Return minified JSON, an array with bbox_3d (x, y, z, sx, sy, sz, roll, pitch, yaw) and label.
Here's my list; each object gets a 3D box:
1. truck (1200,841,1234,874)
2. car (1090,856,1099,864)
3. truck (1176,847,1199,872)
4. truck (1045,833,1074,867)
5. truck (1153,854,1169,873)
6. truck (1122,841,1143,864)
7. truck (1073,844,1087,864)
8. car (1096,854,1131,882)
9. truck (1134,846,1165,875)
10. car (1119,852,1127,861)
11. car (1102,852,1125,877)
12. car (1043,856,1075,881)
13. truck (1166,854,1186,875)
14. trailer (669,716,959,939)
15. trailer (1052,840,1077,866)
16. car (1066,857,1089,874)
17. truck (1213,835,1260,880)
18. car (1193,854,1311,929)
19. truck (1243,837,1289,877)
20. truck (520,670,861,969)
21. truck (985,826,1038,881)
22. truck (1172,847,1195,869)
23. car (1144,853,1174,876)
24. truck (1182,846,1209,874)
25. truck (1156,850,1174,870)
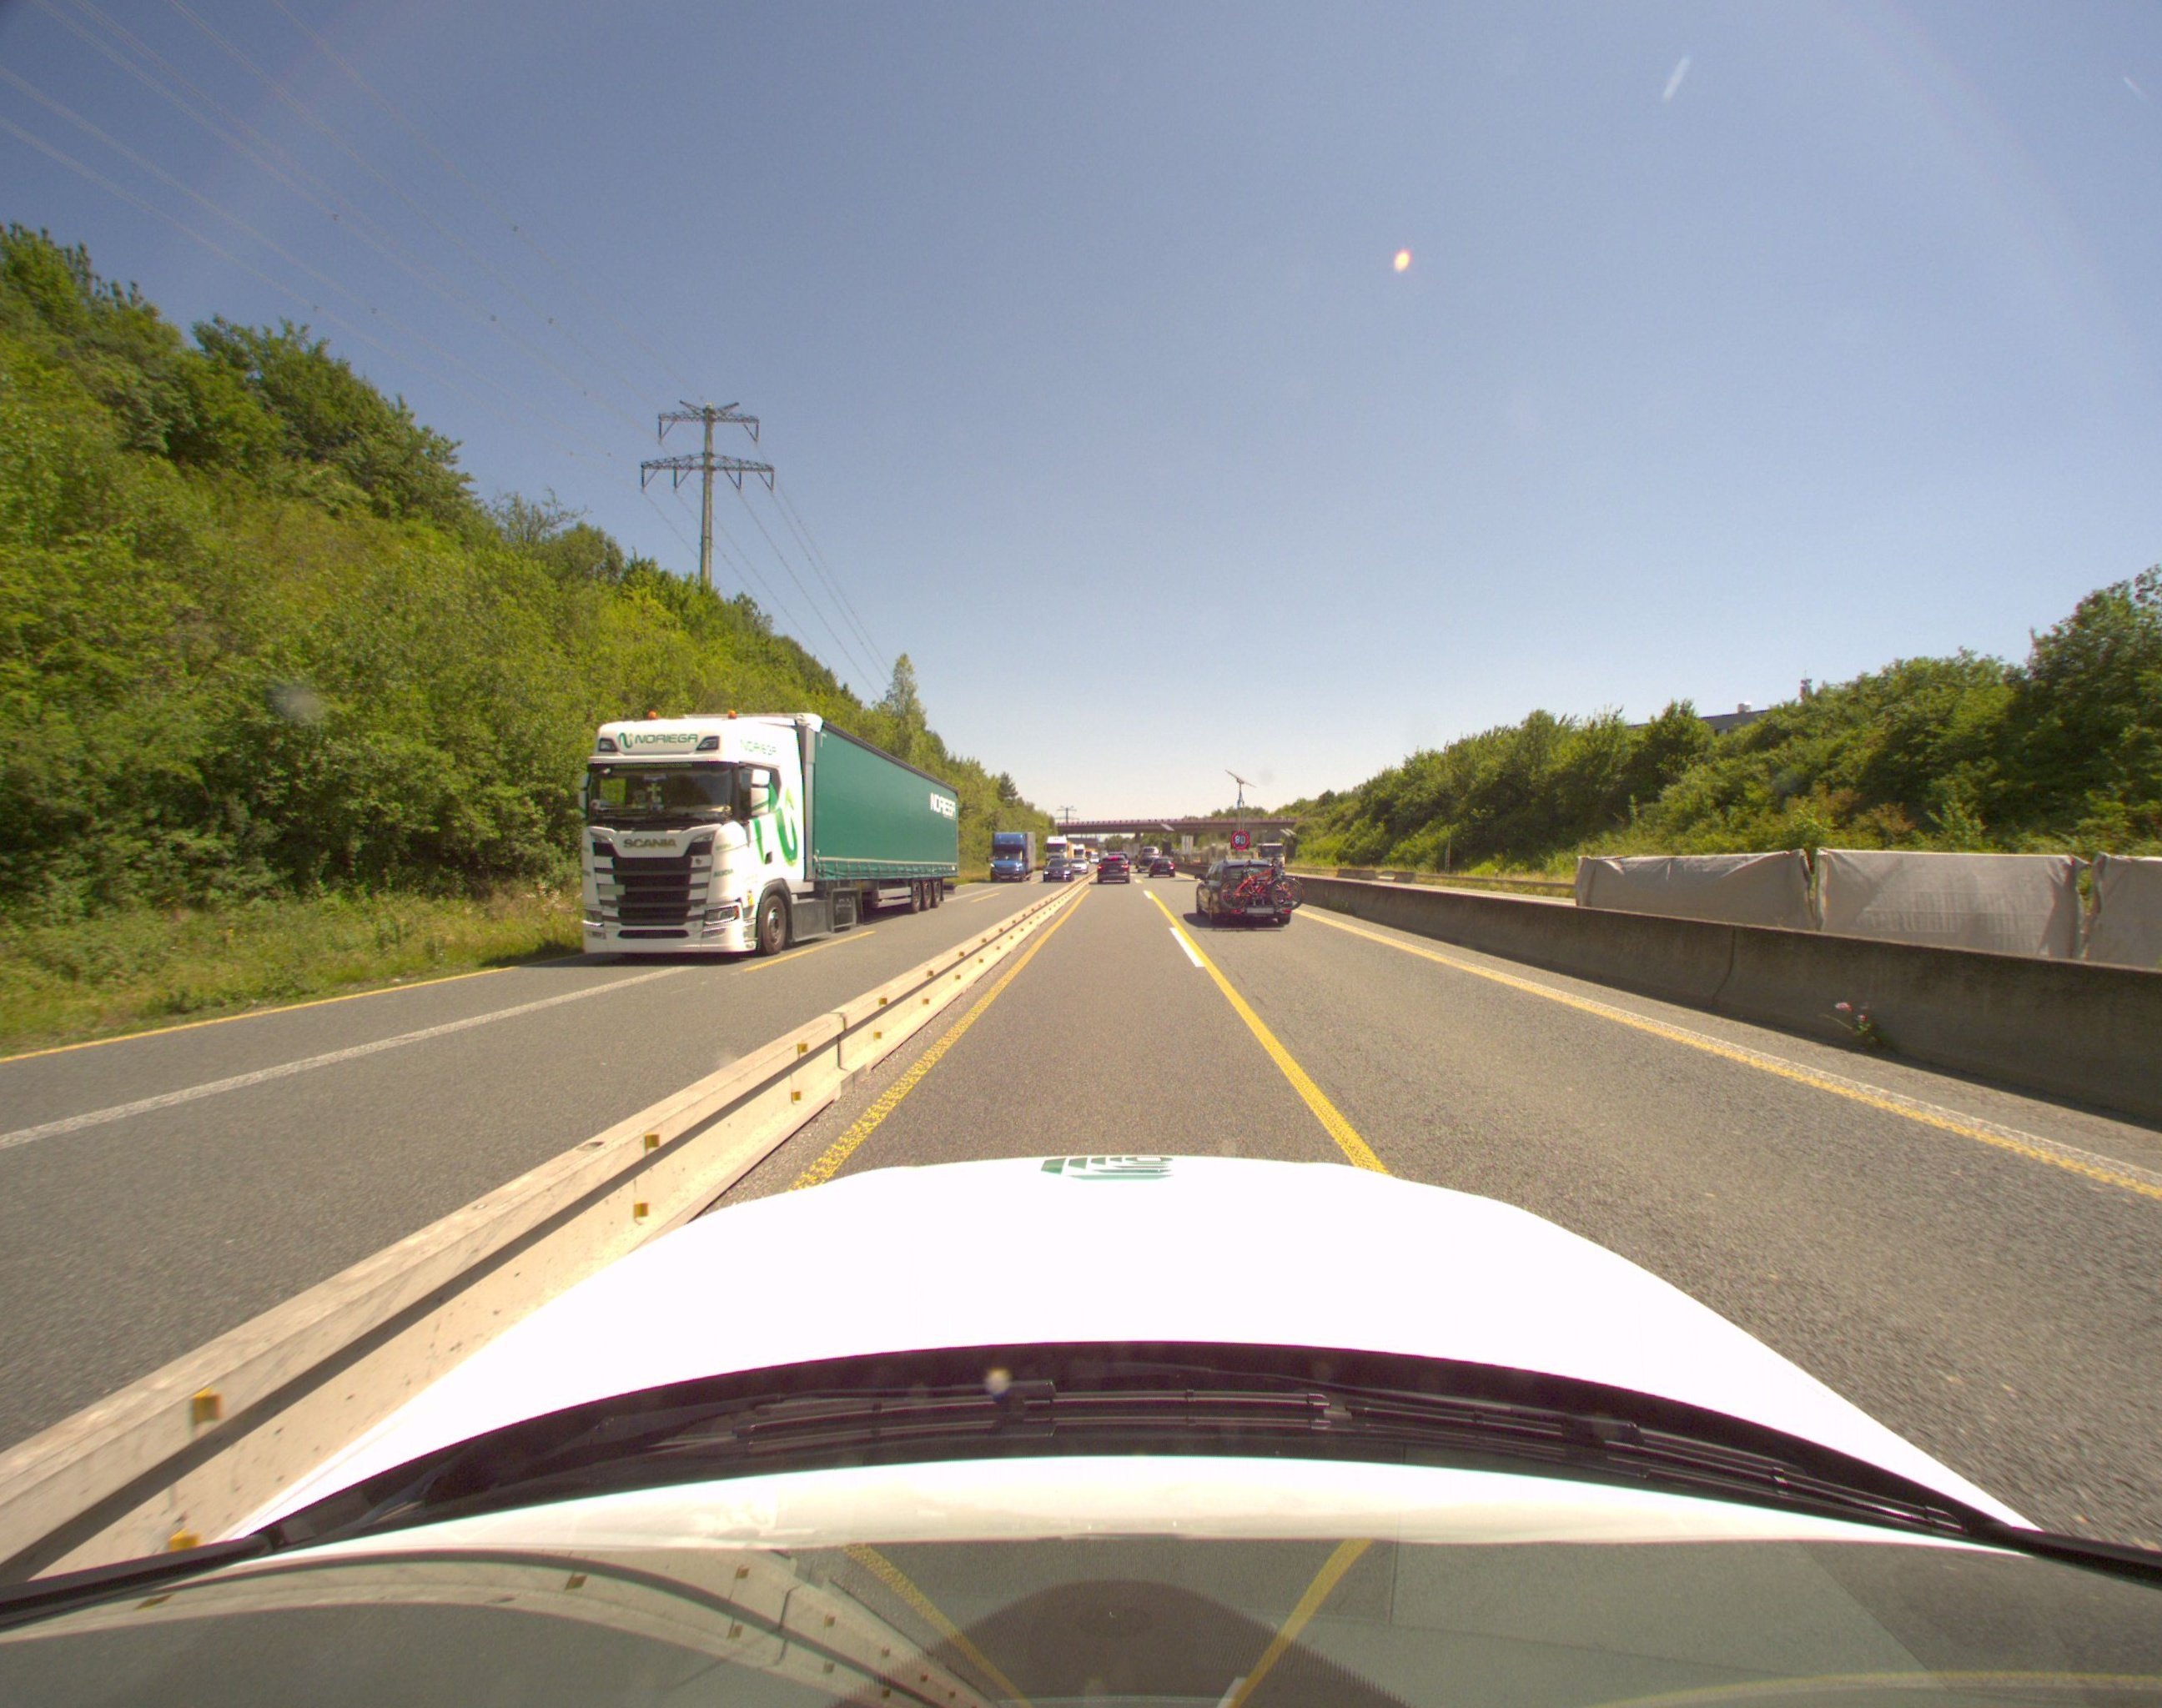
[{"bbox_3d":[15.128,0.394,91.051,2.529,3.557,9.607,-1,0,2],"label":"truck"},{"bbox_3d":[2.944,1.344,179.407,1.818,1.631,4.152,-1,-1,2],"label":"car"},{"bbox_3d":[15.742,0.781,120.904,2.676,3.557,9.414,-1,0,3],"label":"truck"},{"bbox_3d":[-2.573,-0.468,99.863,2.638,3.992,9.658,1,0,3],"label":"truck"},{"bbox_3d":[16.867,1.913,172.135,2.677,3.856,9.328,-1,0,2],"label":"truck"},{"bbox_3d":[9.178,-0.243,146.110,3.282,3.845,10.108,0,0,0],"label":"truck"},{"bbox_3d":[-0.131,-0.047,165.424,2.400,3.992,10.358,0,0,2],"label":"truck"},{"bbox_3d":[1.862,0.783,46.460,1.891,1.505,4.279,0,0,3],"label":"car"},{"bbox_3d":[6.417,0.567,76.753,2.397,2.558,7.501,0,0,1],"label":"truck"},{"bbox_3d":[9.296,0.628,180.798,1.891,1.969,4.279,0,0,3],"label":"car"},{"bbox_3d":[2.724,0.866,67.398,1.891,1.969,4.279,0,0,3],"label":"car"},{"bbox_3d":[-1.350,0.895,51.202,1.754,1.490,4.403,0,-1,2],"label":"car"},{"bbox_3d":[16.567,1.814,142.741,2.677,3.557,9.327,-1,0,1],"label":"truck"},{"bbox_3d":[-5.955,-0.466,21.733,2.880,4.125,13.251,0,0,2],"label":"trailer"},{"bbox_3d":[-2.084,-0.108,109.131,2.639,3.336,8.925,1,0,3],"label":"trailer"},{"bbox_3d":[-0.290,1.049,74.175,1.834,1.490,4.513,-2,-1,2],"label":"car"},{"bbox_3d":[12.986,0.311,68.783,2.523,3.511,9.101,-1,0,2],"label":"truck"},{"bbox_3d":[3.750,0.768,18.732,1.891,1.490,4.951,0,-1,3],"label":"car"},{"bbox_3d":[17.256,0.302,76.396,2.677,3.511,8.384,-1,0,2],"label":"truck"},{"bbox_3d":[-6.279,-0.471,14.392,2.883,4.118,6.023,-1,0,2],"label":"truck"},{"bbox_3d":[-4.412,-0.043,52.990,2.395,3.330,7.506,0,0,3],"label":"truck"},{"bbox_3d":[16.735,0.652,133.356,2.677,3.557,9.327,-1,0,1],"label":"truck"},{"bbox_3d":[5.569,0.768,58.572,1.892,1.585,4.278,0,0,2],"label":"car"},{"bbox_3d":[15.316,0.799,109.529,2.677,3.557,9.608,-1,0,2],"label":"truck"},{"bbox_3d":[16.558,1.176,160.918,2.677,3.761,9.328,-1,0,2],"label":"truck"}]
